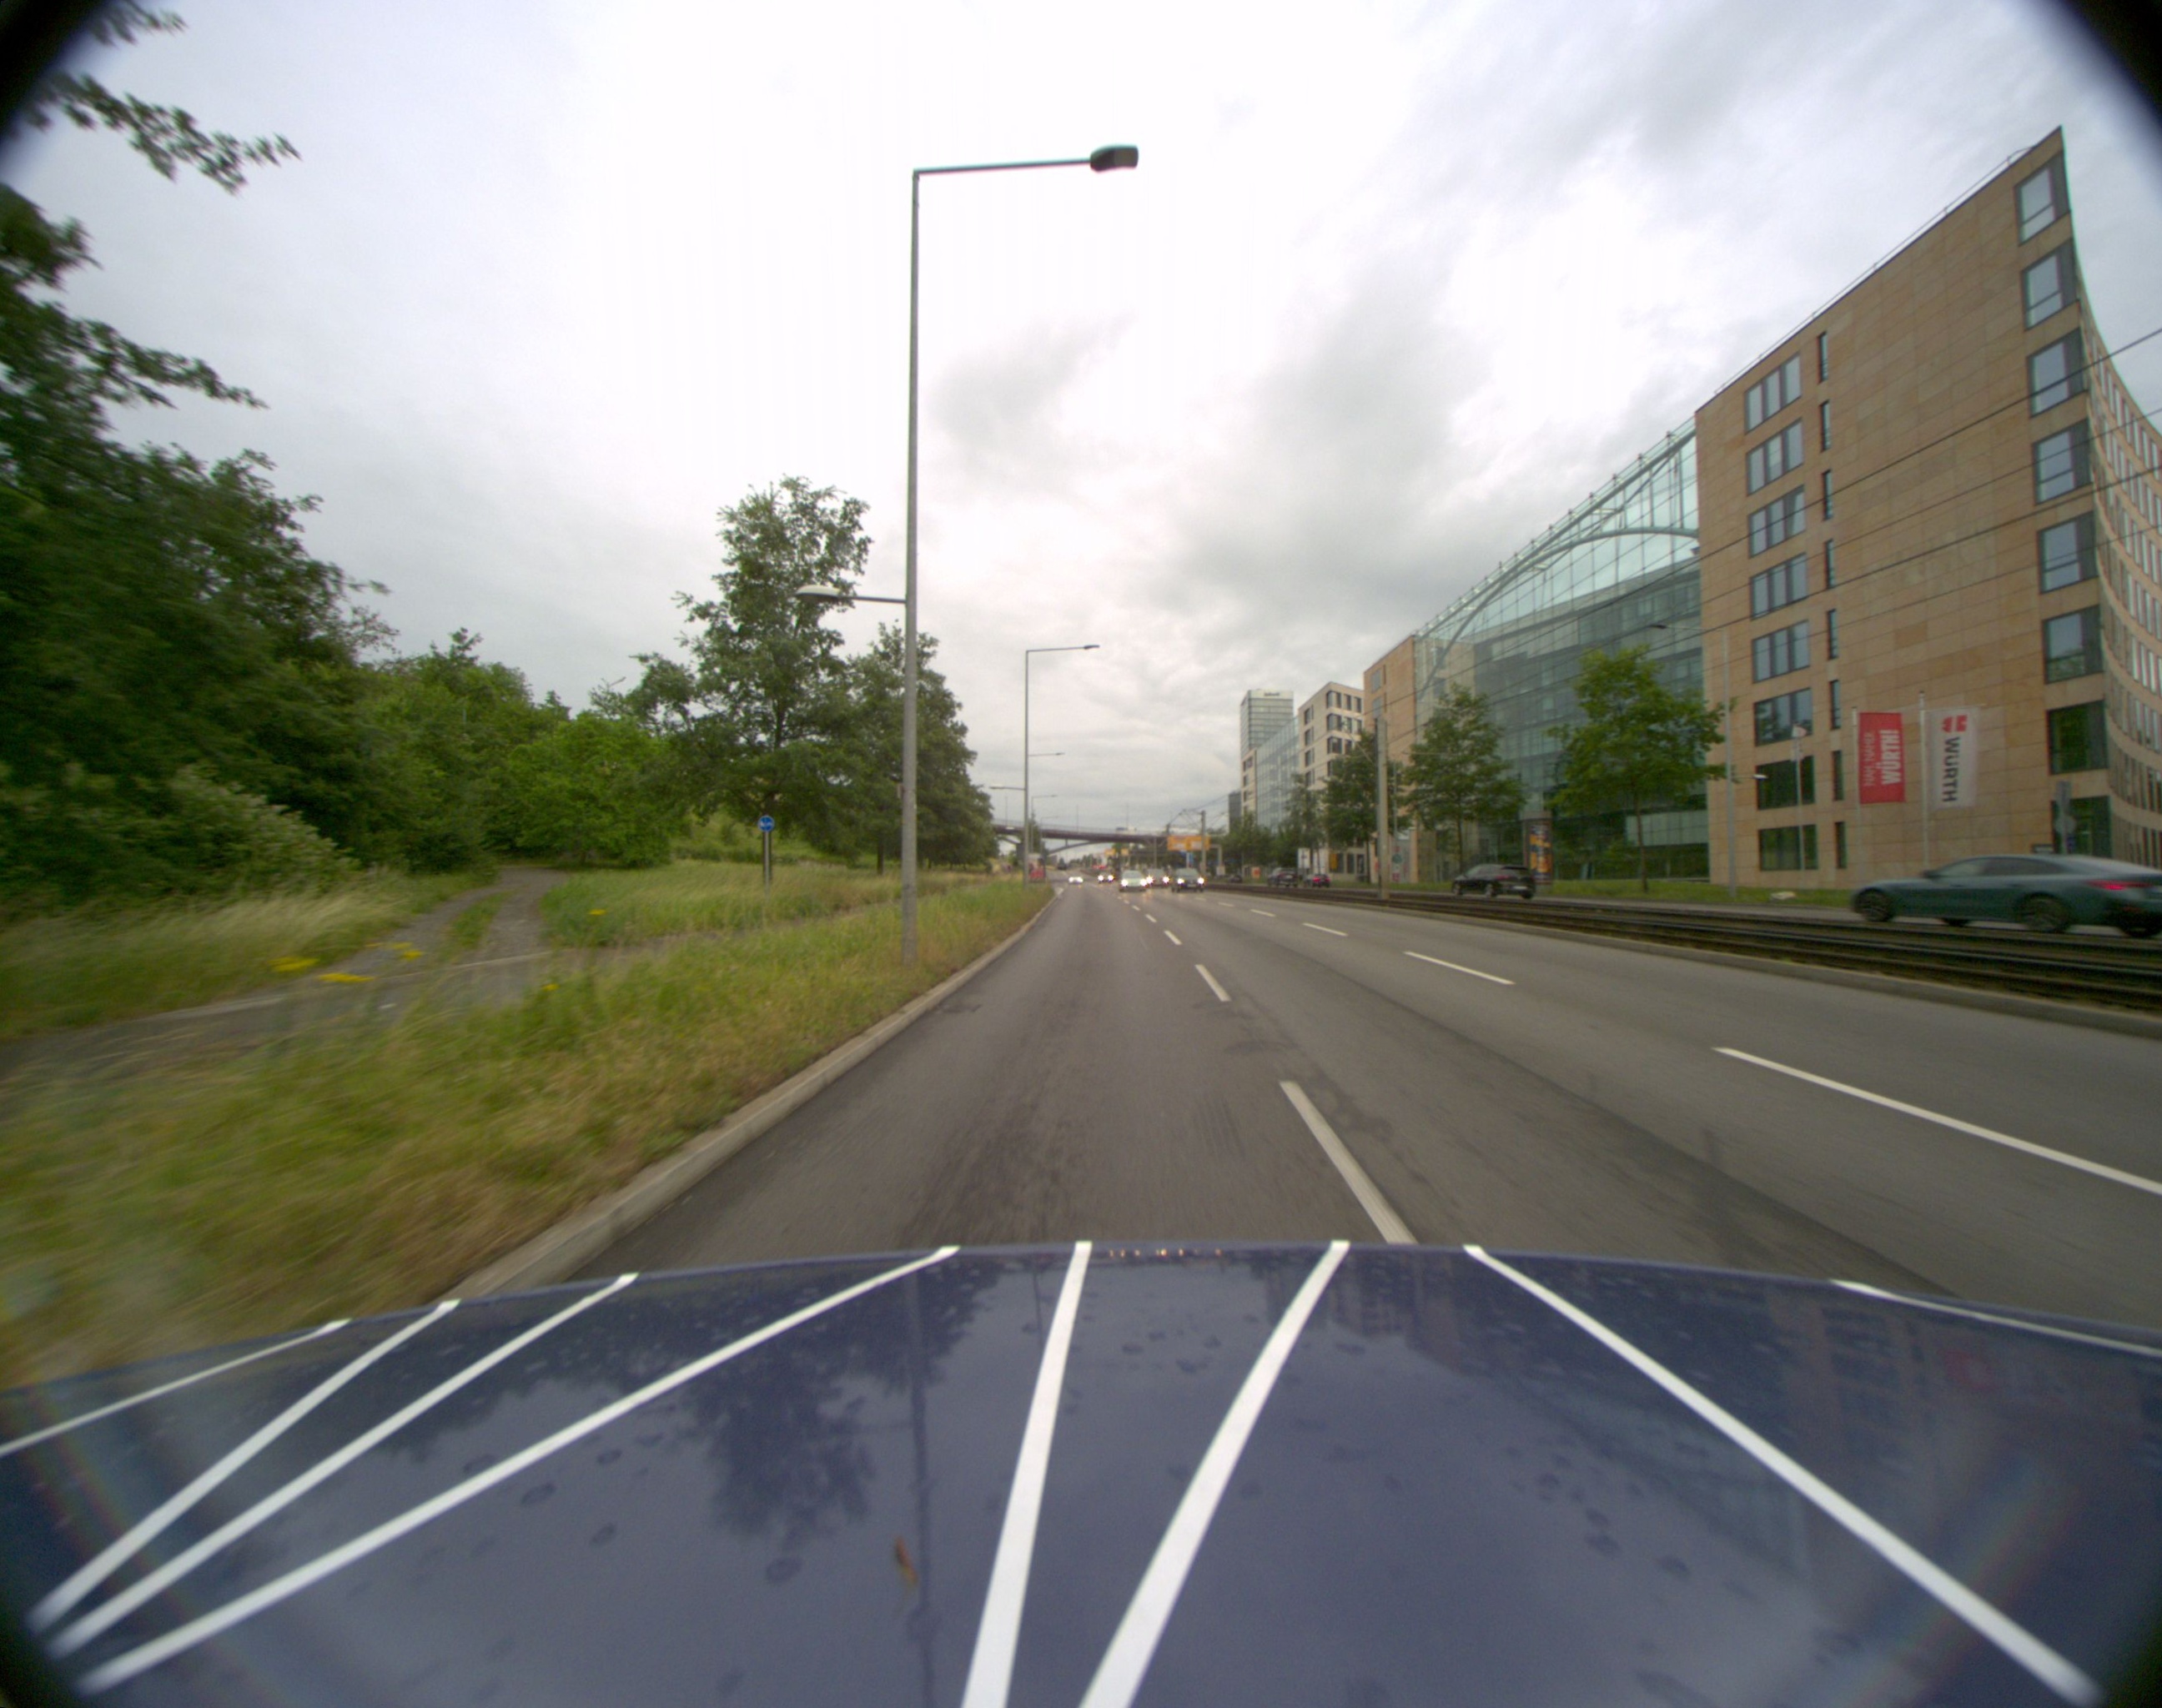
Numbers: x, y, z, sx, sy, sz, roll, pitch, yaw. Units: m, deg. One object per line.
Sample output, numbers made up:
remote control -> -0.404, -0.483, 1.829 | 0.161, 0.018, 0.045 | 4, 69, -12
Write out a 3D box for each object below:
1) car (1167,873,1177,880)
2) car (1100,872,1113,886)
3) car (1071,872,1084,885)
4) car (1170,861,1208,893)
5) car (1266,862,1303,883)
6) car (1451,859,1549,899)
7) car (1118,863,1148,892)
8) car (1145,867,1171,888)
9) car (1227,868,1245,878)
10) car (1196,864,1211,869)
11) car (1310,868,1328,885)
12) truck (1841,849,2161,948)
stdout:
car -> 20.727, 5.056, 173.321 | 1.845, 1.477, 4.654 | 2, -2, 0
car -> 3.677, 3.586, 109.896 | 1.794, 1.858, 4.377 | -2, 1, 0
car -> -0.521, 3.560, 111.970 | 1.794, 1.621, 4.377 | -2, 0, 0
car -> 6.878, 1.425, 48.762 | 1.794, 1.858, 4.377 | -2, 1, 0
car -> 17.167, 1.519, 64.325 | 1.810, 1.607, 4.385 | -2, 0, -2
car -> 17.500, 0.992, 31.974 | 1.672, 1.453, 4.237 | 1, 0, -1
car -> 3.700, 1.635, 54.493 | 1.794, 1.858, 4.377 | -2, 1, 0
car -> 6.648, 2.017, 65.721 | 1.794, 1.535, 4.377 | -2, 0, 0
car -> 24.333, 3.054, 119.331 | 1.845, 1.477, 4.431 | 2, -2, 0
car -> 37.293, 3.760, 231.666 | 4.363, 1.495, 1.885 | -2, 1, 2
car -> 23.822, 2.262, 76.144 | 1.669, 1.453, 4.243 | -2, 1, 17
truck -> 17.754, 0.706, 14.503 | 1.946, 1.559, 4.593 | 1, 1, 1
